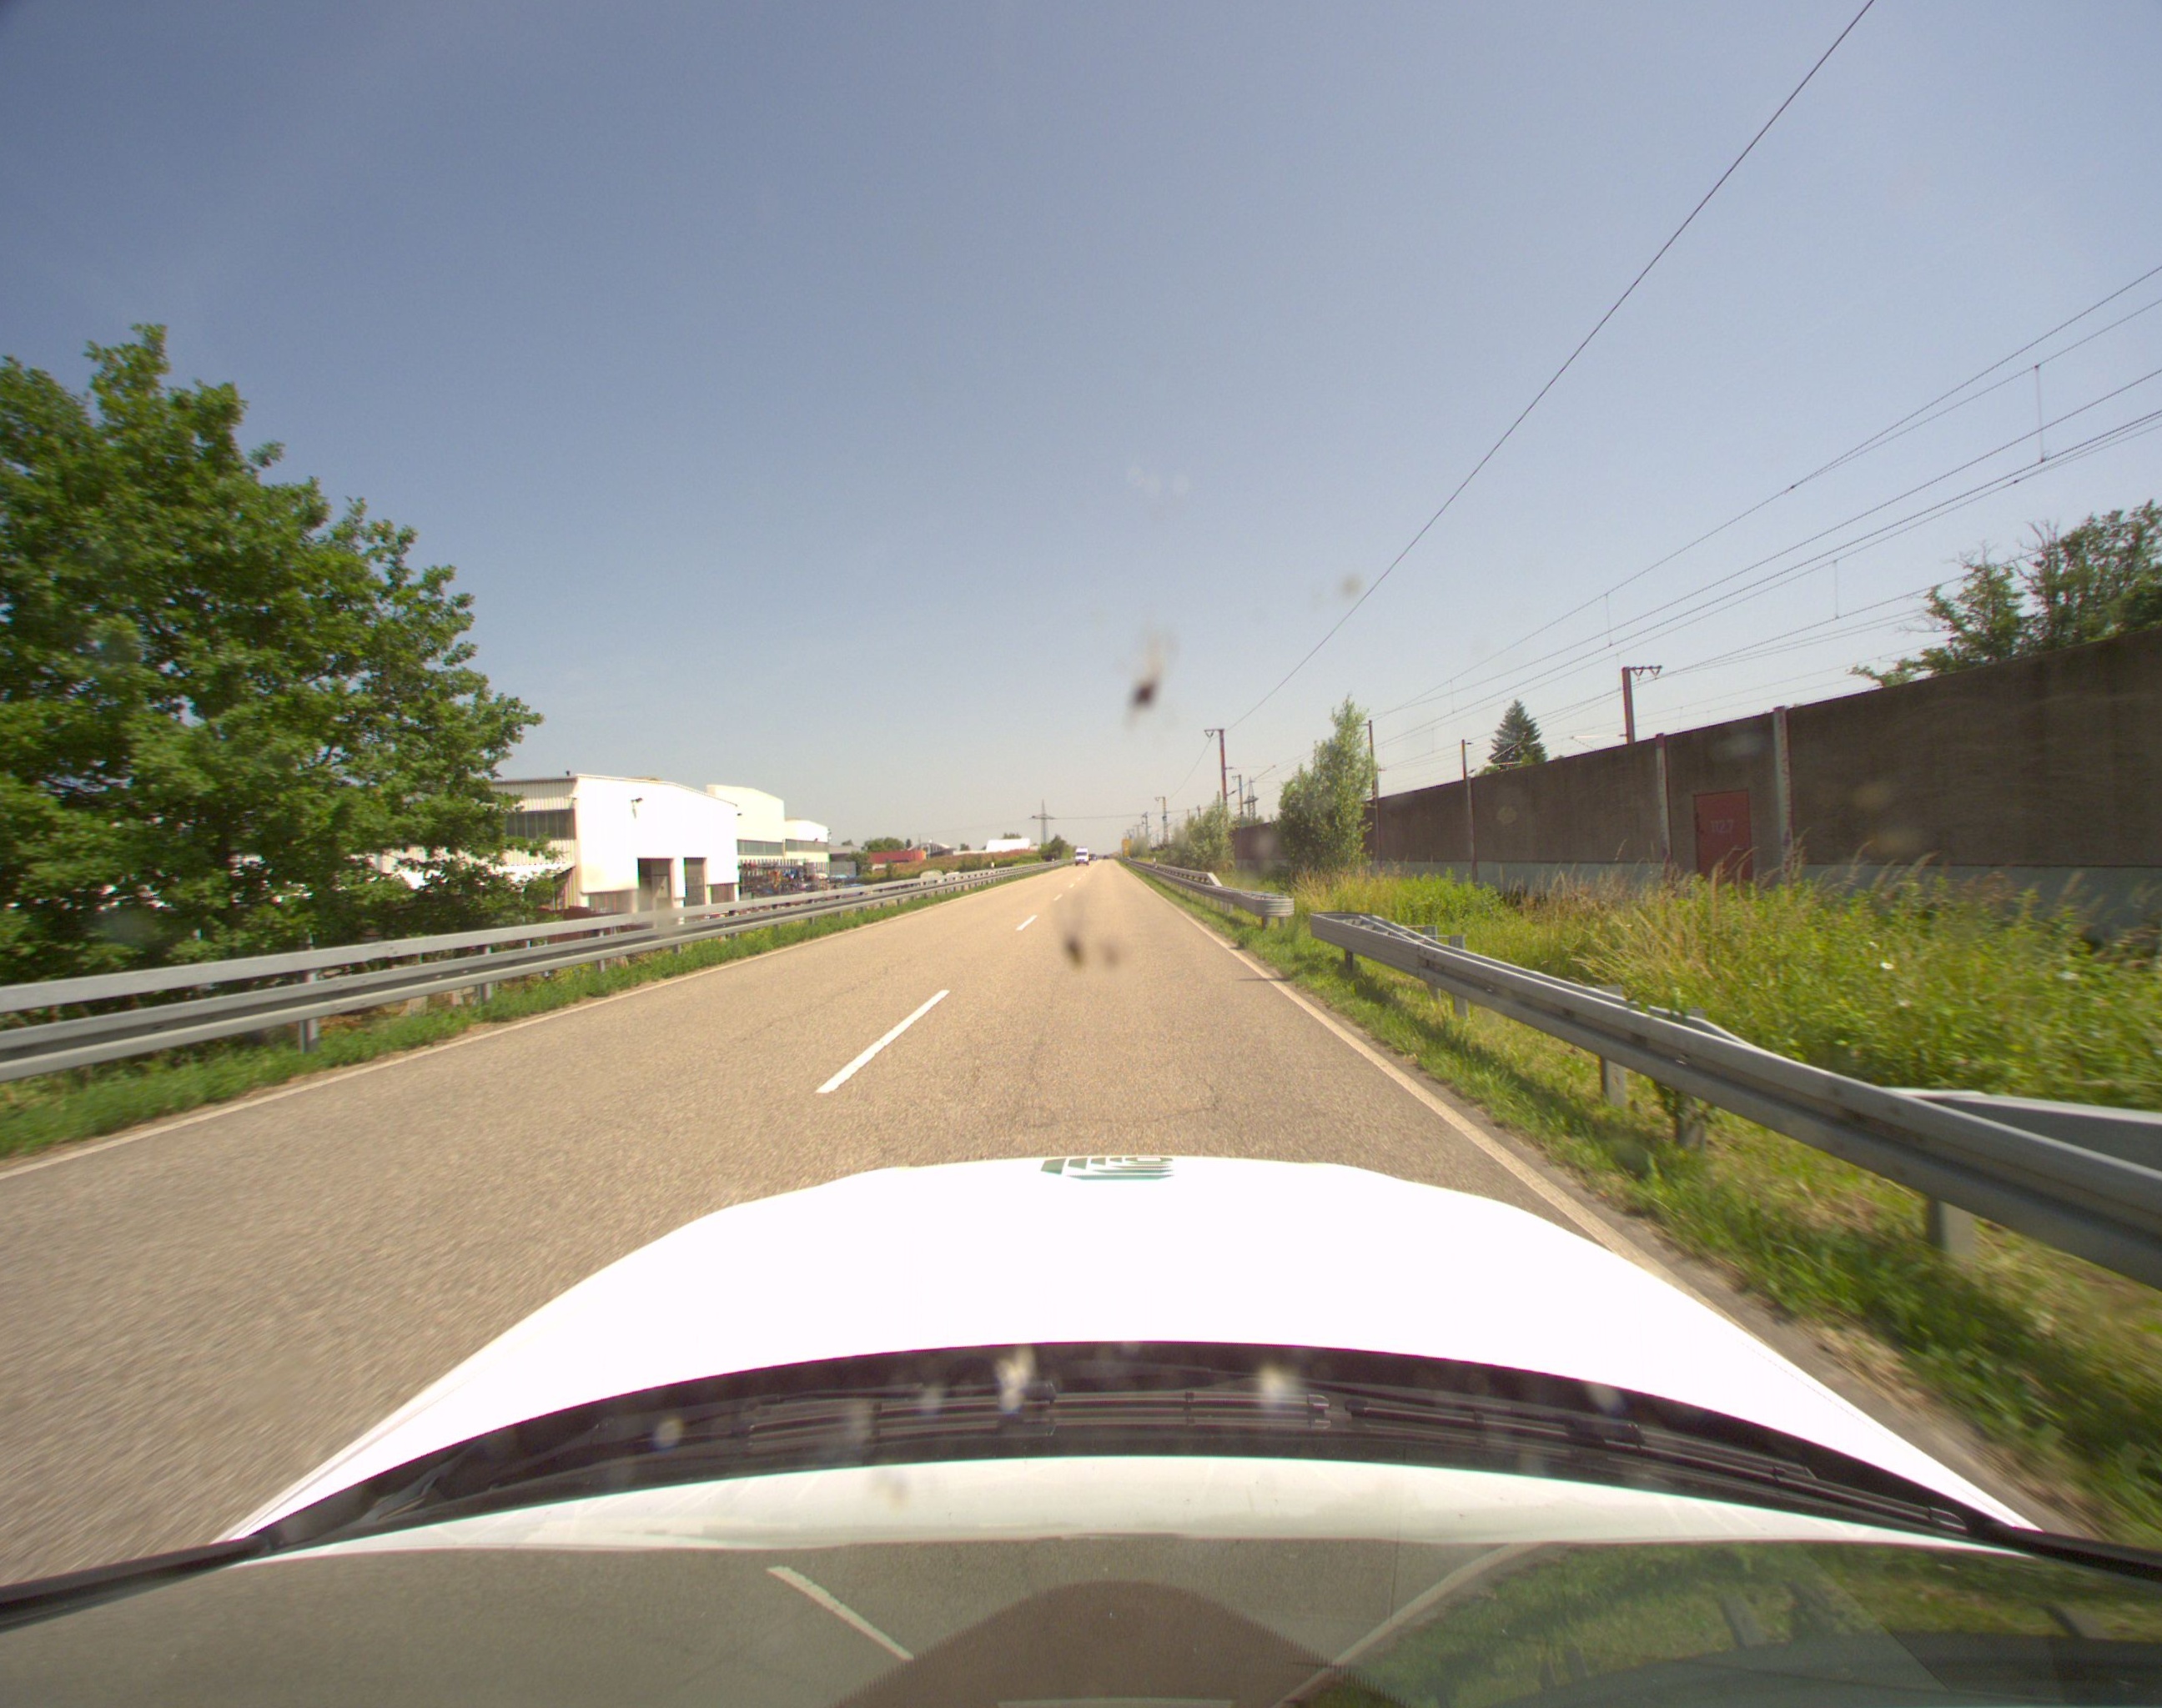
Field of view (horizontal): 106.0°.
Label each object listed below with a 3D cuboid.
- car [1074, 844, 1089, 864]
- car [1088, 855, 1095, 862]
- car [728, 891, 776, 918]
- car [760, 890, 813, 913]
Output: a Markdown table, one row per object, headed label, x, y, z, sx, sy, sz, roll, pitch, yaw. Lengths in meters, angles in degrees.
| label | x | y | z | sx | sy | sz | roll | pitch | yaw |
| --- | --- | --- | --- | --- | --- | --- | --- | --- | --- |
| car | 0.142 | 0.029 | 124.741 | 2.071 | 2.962 | 6.731 | -1 | 0 | 1 |
| car | 2.763 | 1.186 | 217.477 | 1.886 | 2.014 | 5.371 | -1 | 0 | 1 |
| car | -27.256 | 4.176 | 67.568 | 3.123 | 1.773 | 1.674 | -7 | -1 | -2 |
| car | -26.223 | 4.214 | 72.622 | 3.980 | 1.520 | 1.722 | -5 | 0 | -4 |
